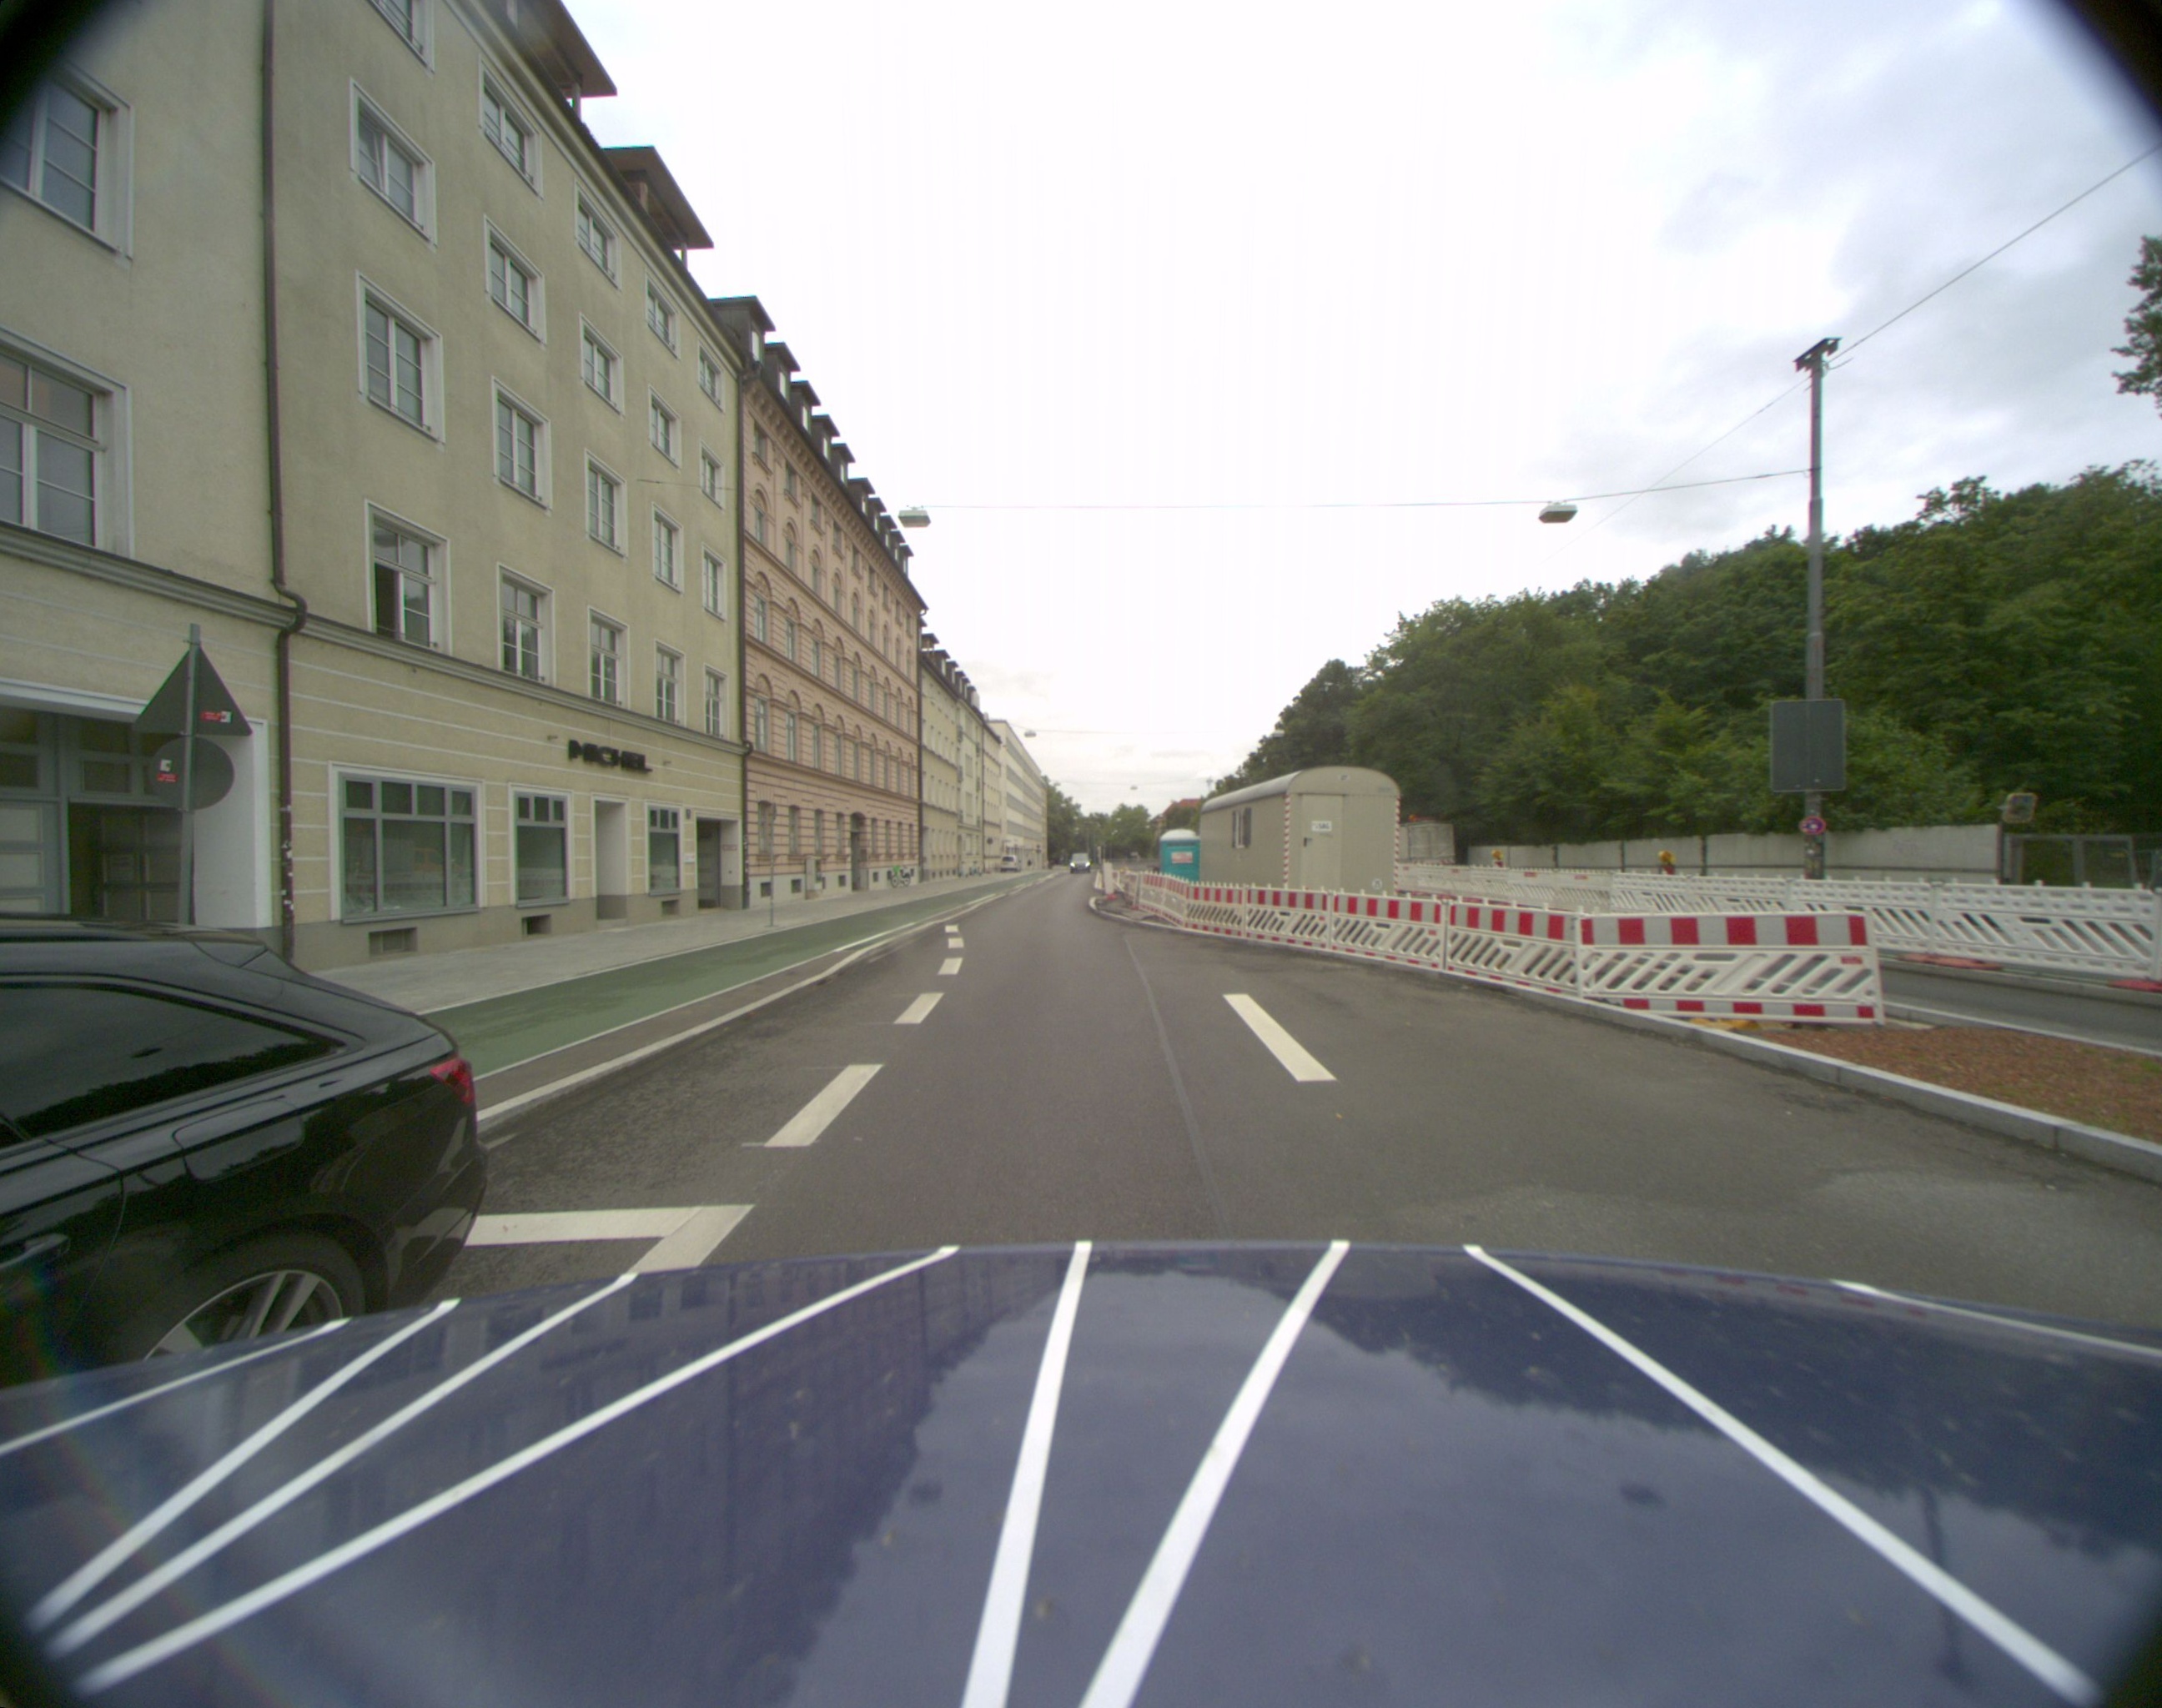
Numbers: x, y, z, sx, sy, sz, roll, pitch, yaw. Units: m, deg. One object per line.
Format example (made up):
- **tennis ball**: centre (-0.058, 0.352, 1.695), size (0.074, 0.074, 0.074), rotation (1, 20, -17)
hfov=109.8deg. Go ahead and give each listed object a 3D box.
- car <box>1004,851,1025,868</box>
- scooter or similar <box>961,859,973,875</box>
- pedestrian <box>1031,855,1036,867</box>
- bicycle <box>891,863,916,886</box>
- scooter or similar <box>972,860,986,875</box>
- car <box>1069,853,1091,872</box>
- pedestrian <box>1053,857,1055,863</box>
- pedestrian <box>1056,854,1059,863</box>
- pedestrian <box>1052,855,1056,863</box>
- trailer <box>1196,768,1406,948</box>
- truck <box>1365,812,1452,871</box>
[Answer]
- **car**: centre (-7.092, 0.568, 81.249), size (1.737, 1.739, 4.436), rotation (0, 0, 2)
- **scooter or similar**: centre (-8.786, 0.998, 58.618), size (0.246, 1.224, 1.121), rotation (2, 1, 27)
- **pedestrian**: centre (-6.743, 0.992, 108.055), size (0.666, 1.626, 0.737), rotation (-1, 1, 1)
- **bicycle**: centre (-9.327, 1.075, 39.975), size (0.426, 1.167, 1.734), rotation (0, 0, 19)
- **scooter or similar**: centre (-8.505, 1.111, 63.487), size (1.121, 1.224, 0.246), rotation (1, 1, -32)
- **car**: centre (-0.112, 0.820, 73.773), size (1.998, 1.738, 4.000), rotation (-2, 0, 0)
- **pedestrian**: centre (-5.280, 1.188, 150.883), size (0.368, 1.239, 0.470), rotation (-1, 1, 2)
- **pedestrian**: centre (-4.589, 0.874, 150.759), size (0.514, 1.825, 0.602), rotation (-1, 1, 2)
- **pedestrian**: centre (-5.546, 1.037, 154.357), size (0.753, 1.610, 0.704), rotation (3, 0, 2)
- **trailer**: centre (4.546, 0.062, 17.439), size (2.233, 3.224, 7.516), rotation (-1, 0, -3)
- **truck**: centre (16.207, -0.567, 37.970), size (1.998, 2.712, 5.871), rotation (-1, 0, 2)
